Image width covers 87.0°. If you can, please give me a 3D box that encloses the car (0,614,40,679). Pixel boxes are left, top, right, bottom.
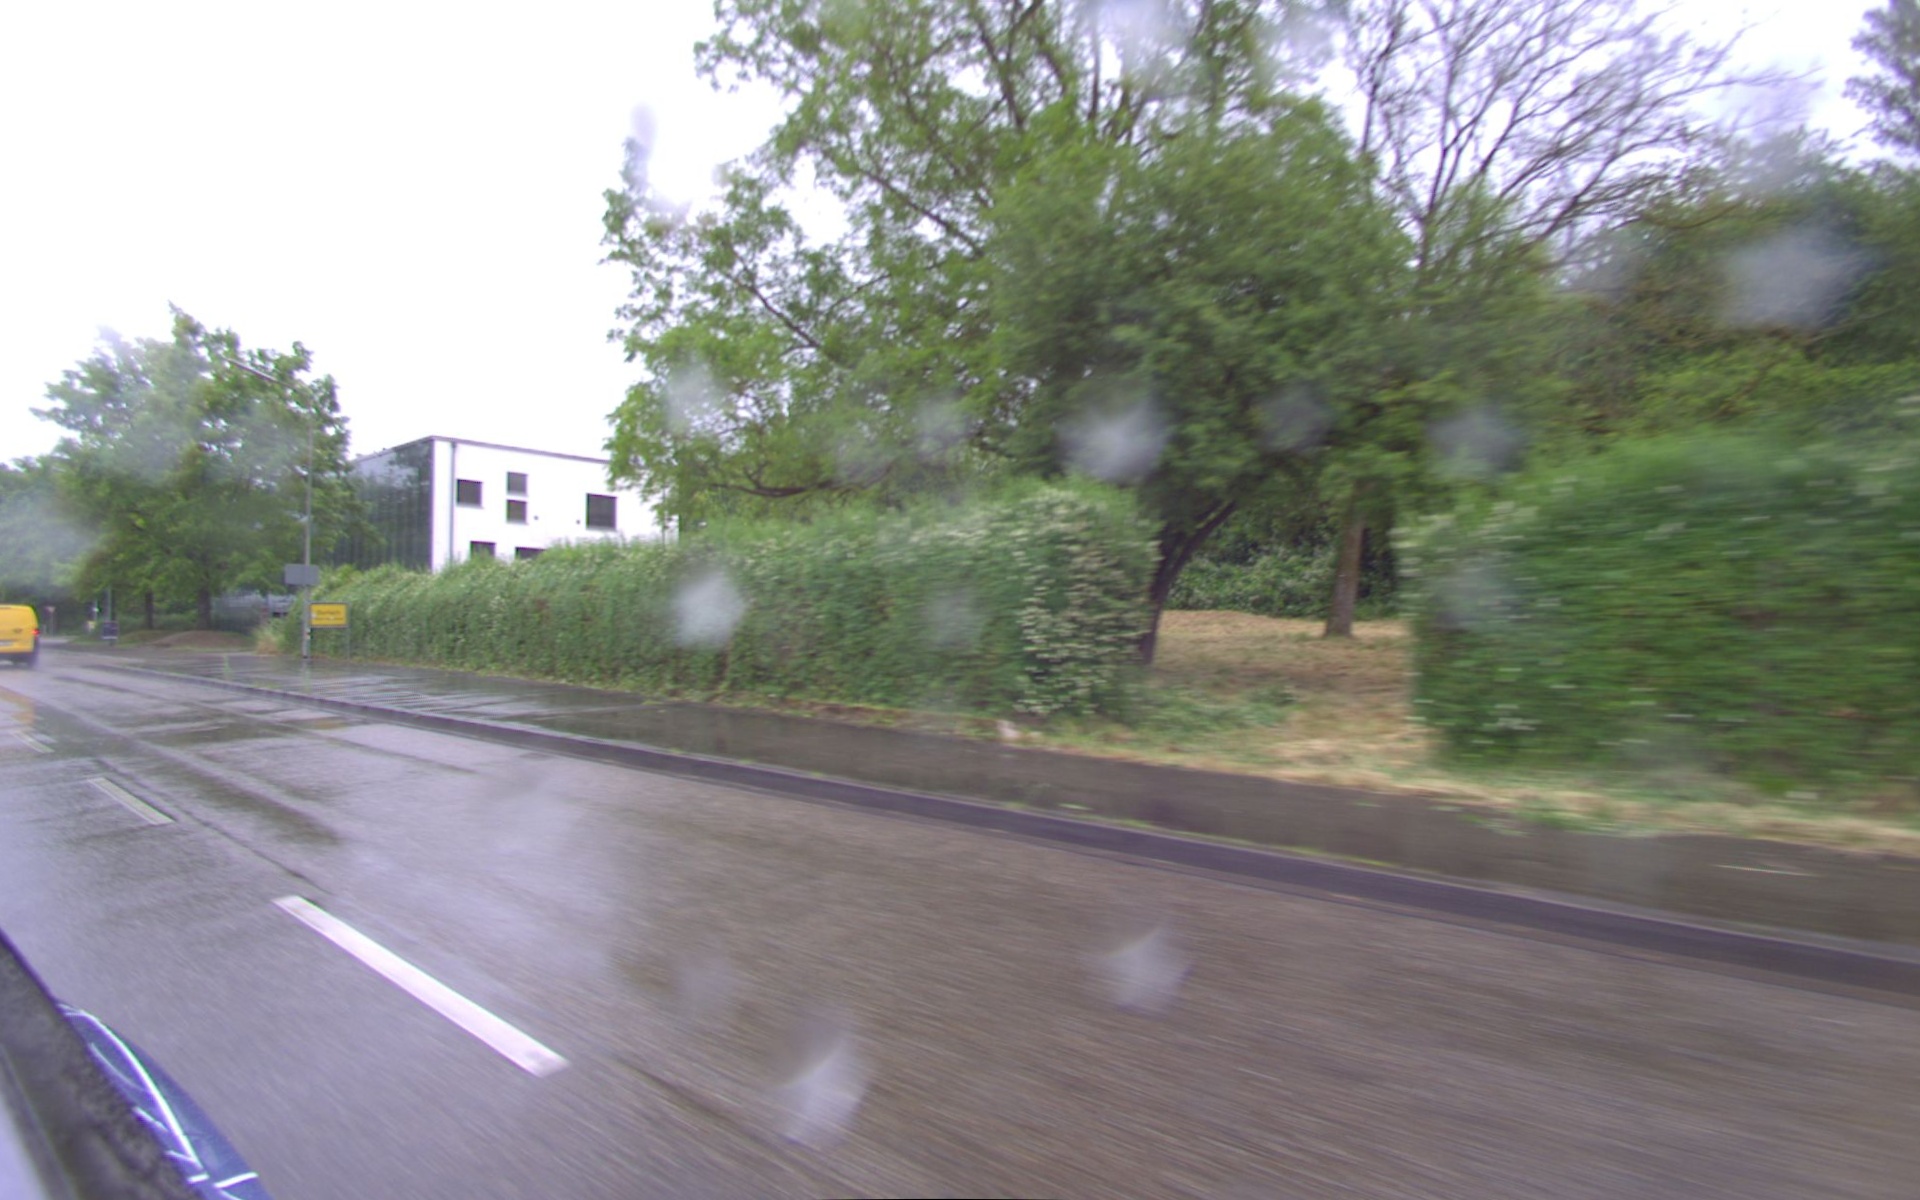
[{"bbox_3d":[-30.183,1.435,31.235,4.464,1.890,1.974,-2,0,39],"label":"car"}]
